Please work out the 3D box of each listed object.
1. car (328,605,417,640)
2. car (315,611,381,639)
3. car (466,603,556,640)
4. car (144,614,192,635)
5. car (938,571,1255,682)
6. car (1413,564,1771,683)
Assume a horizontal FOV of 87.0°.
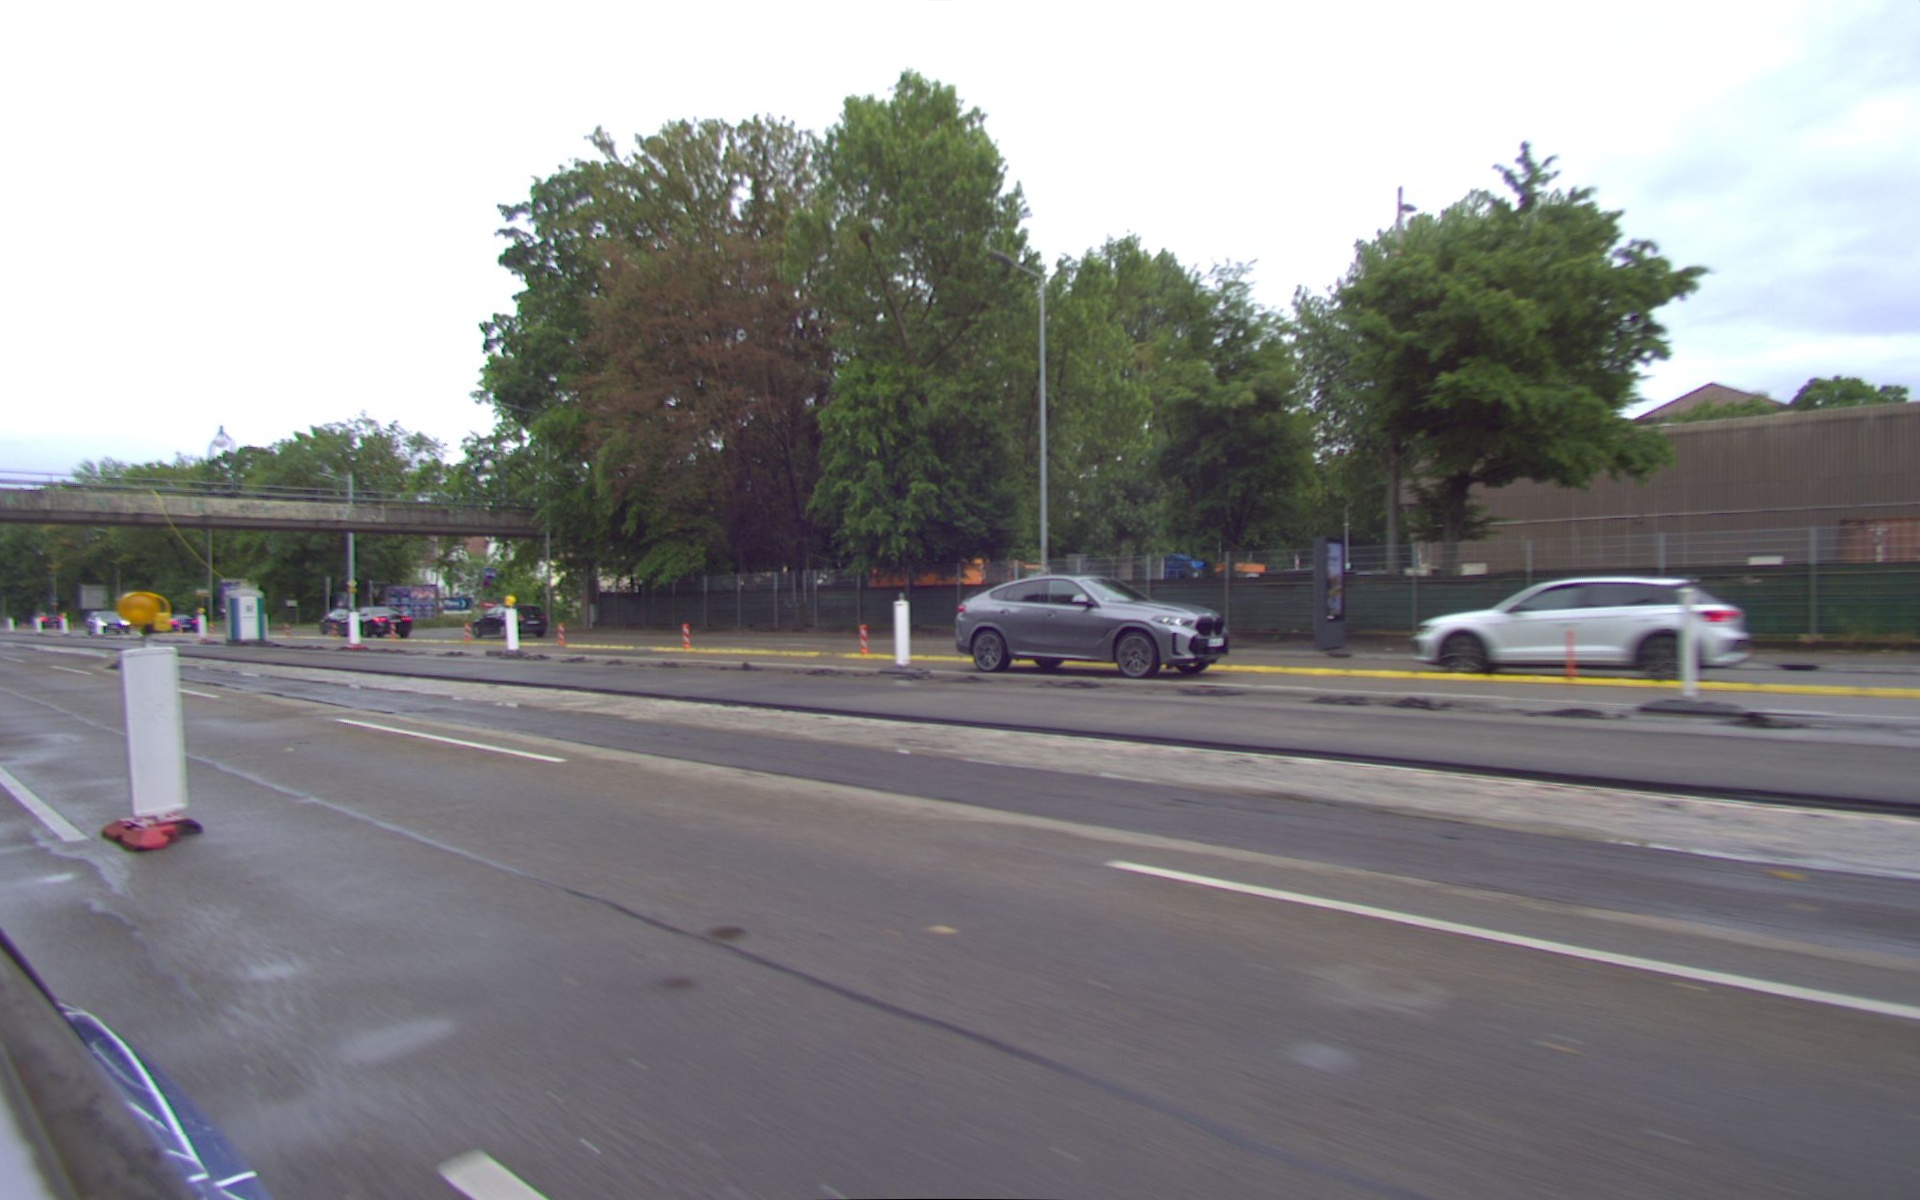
[{"bbox_3d":[-27.477,1.055,47.277,5.087,1.524,2.056,-2,0,41],"label":"car"},{"bbox_3d":[-34.445,1.366,56.914,4.566,1.358,1.972,1,2,43],"label":"car"},{"bbox_3d":[-19.771,0.920,44.509,4.303,1.529,1.973,-1,1,41],"label":"car"},{"bbox_3d":[-61.918,1.896,79.077,4.880,1.470,1.973,-1,1,40],"label":"car"},{"bbox_3d":[2.189,0.391,17.245,5.053,1.625,2.055,-1,1,41],"label":"car"},{"bbox_3d":[9.337,0.322,15.140,4.264,1.524,1.973,-1,0,41],"label":"car"}]
